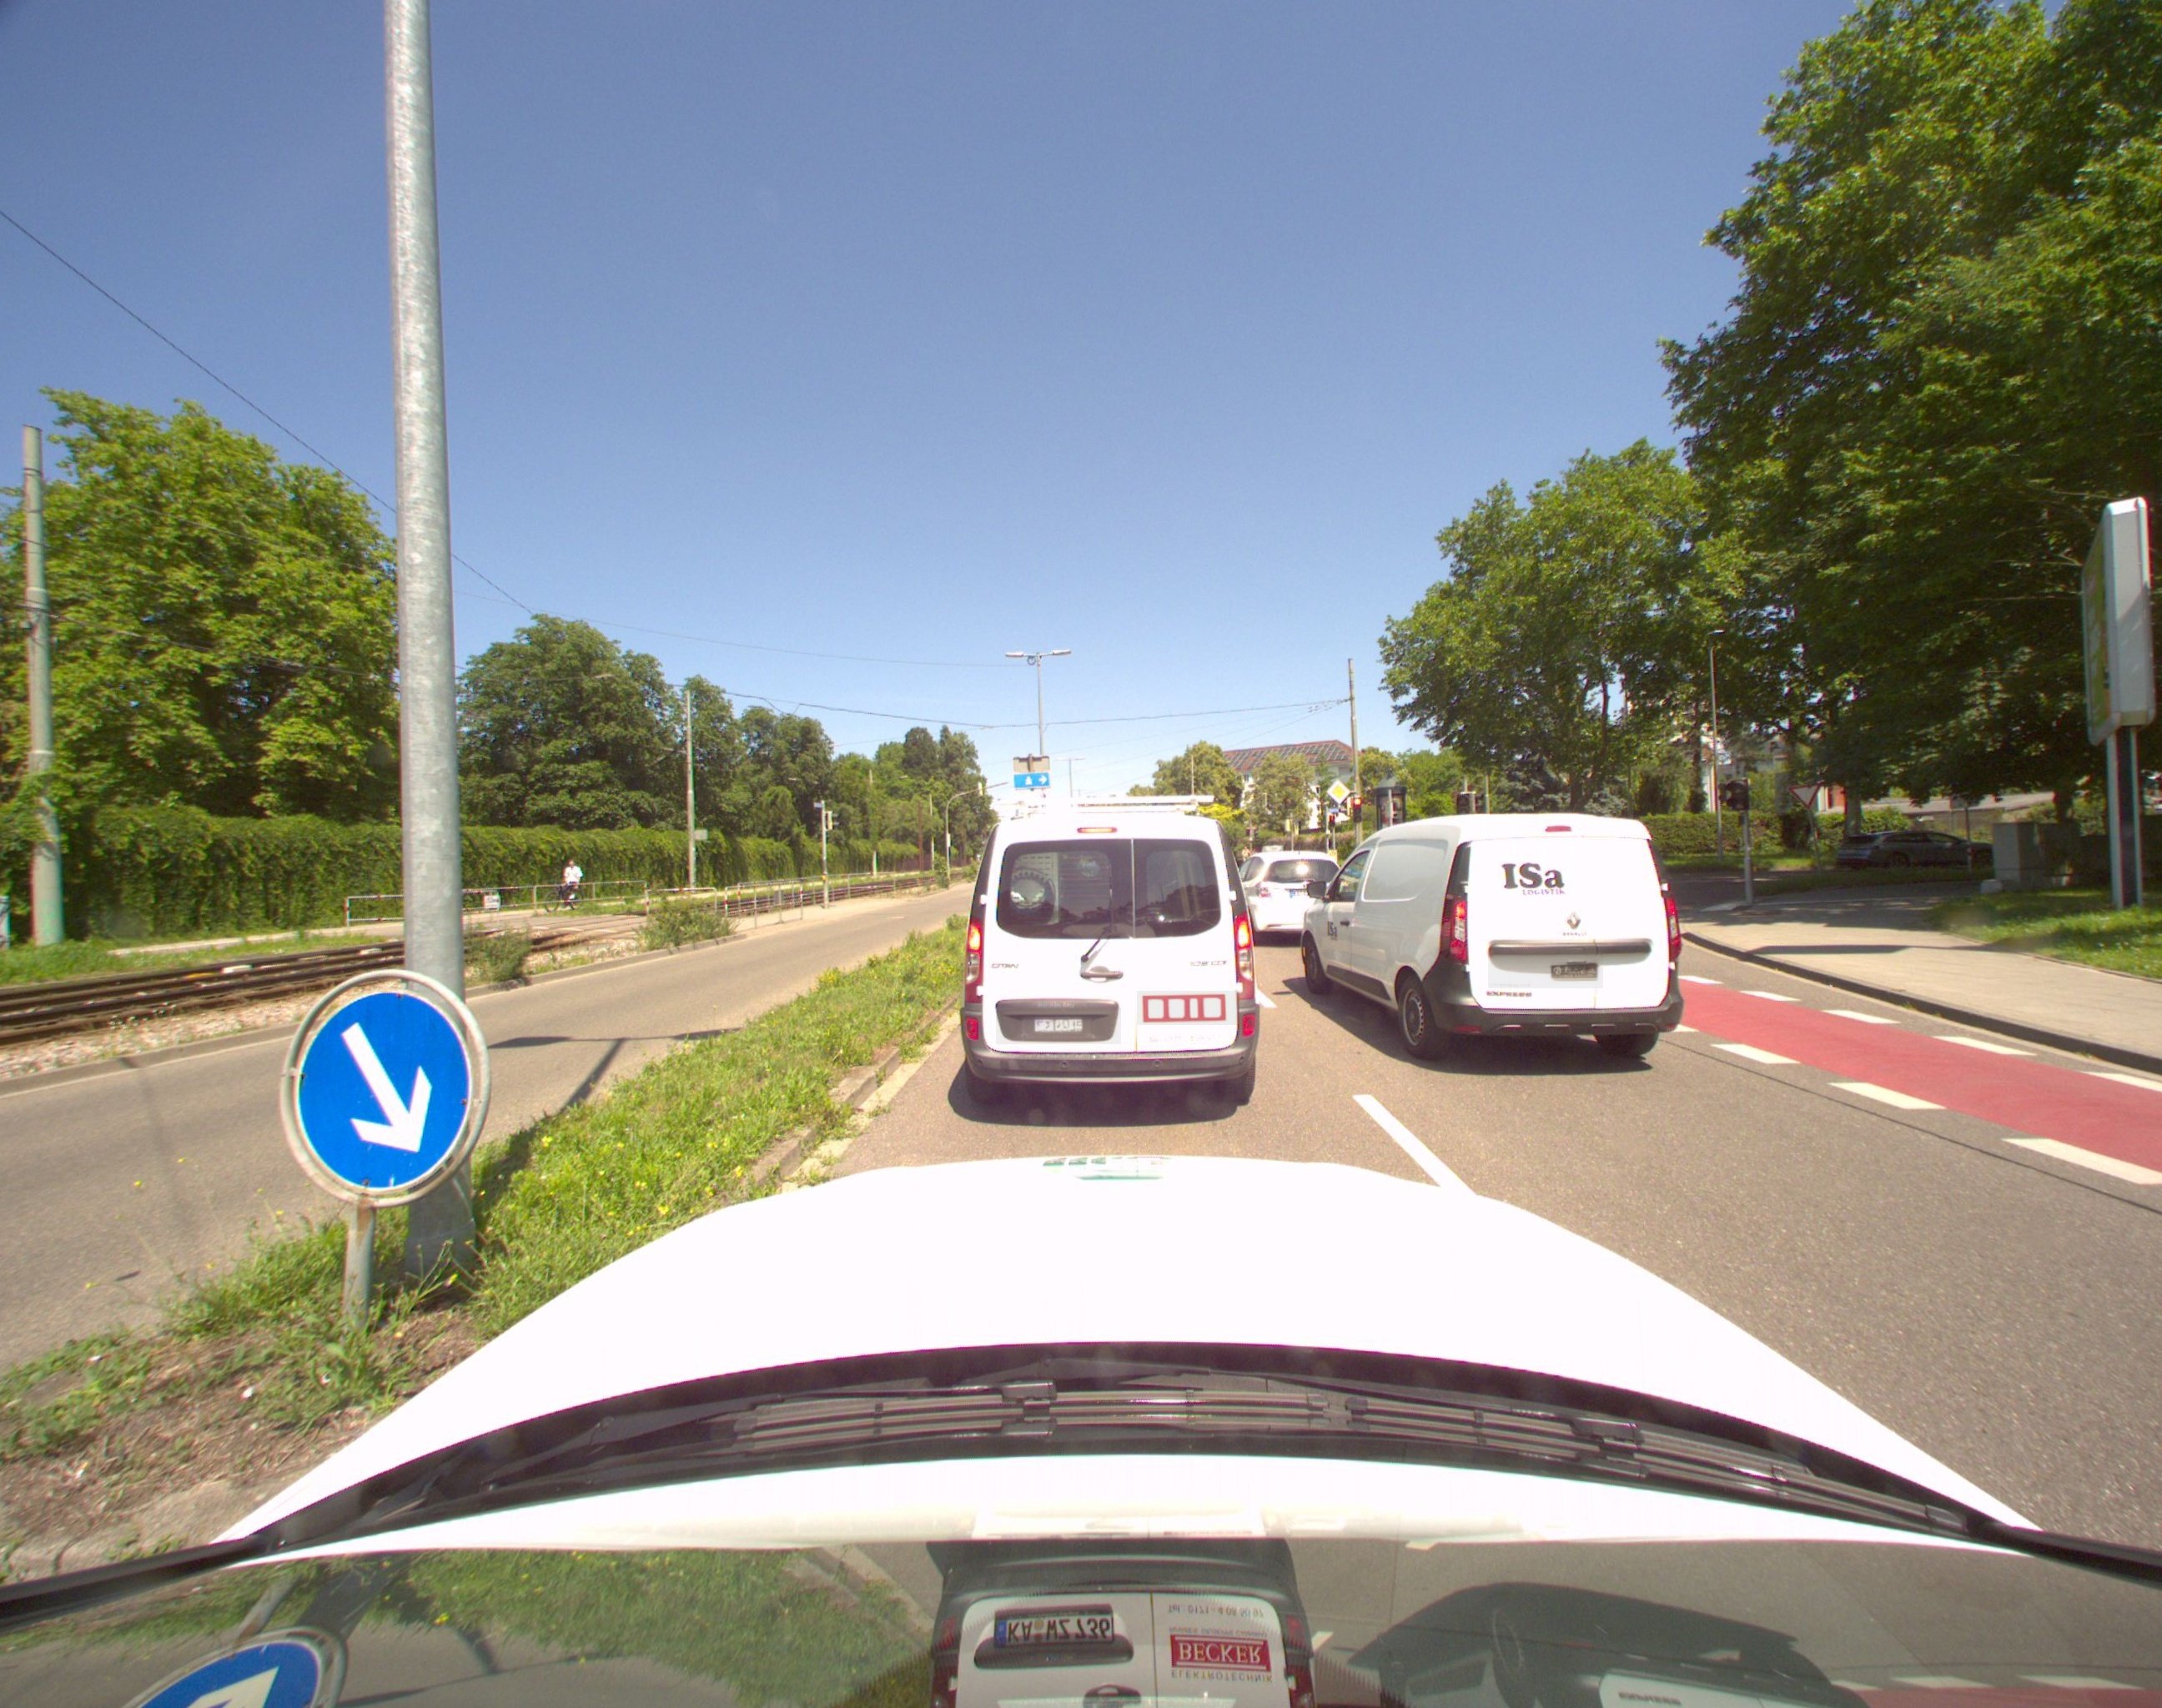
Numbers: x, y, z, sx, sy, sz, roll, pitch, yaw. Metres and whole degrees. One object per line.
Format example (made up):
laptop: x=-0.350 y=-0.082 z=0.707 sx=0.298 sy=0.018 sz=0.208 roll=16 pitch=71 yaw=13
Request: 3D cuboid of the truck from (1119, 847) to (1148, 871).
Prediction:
truck: x=4.829 y=0.389 z=74.014 sx=2.287 sy=2.013 sz=6.739 roll=-2 pitch=0 yaw=6

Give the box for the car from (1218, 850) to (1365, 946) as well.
car: x=3.616 y=0.686 z=14.713 sx=1.749 sy=1.486 sz=4.002 roll=0 pitch=0 yaw=2

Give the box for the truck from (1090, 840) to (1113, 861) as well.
truck: x=3.710 y=-0.653 z=149.025 sx=3.567 sy=3.632 sz=8.800 roll=-2 pitch=0 yaw=-2

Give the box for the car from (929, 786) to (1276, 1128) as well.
car: x=0.156 y=0.557 z=6.334 sx=1.860 sy=1.836 sz=3.849 roll=-1 pitch=0 yaw=1

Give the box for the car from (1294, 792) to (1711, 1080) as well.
car: x=3.237 y=0.531 z=7.255 sx=1.704 sy=1.830 sz=4.014 roll=-1 pitch=0 yaw=1

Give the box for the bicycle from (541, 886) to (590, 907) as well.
bicycle: x=-18.439 y=1.507 z=29.153 sx=0.559 sy=0.647 sz=1.721 roll=-2 pitch=0 yaw=3

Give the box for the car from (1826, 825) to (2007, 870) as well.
car: x=32.199 y=-0.240 z=31.520 sx=4.655 sy=1.525 sz=2.004 roll=-2 pitch=0 yaw=6

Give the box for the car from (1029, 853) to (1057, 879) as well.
car: x=-3.128 y=0.978 z=66.973 sx=1.987 sy=2.013 sz=4.001 roll=-2 pitch=0 yaw=1

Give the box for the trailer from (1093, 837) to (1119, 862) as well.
trailer: x=4.221 y=-0.801 z=140.166 sx=3.520 sy=4.050 sz=8.965 roll=-2 pitch=0 yaw=-4

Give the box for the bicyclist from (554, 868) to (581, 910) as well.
bicyclist: x=-18.442 y=1.260 z=29.258 sx=0.555 sy=1.478 sz=0.562 roll=-2 pitch=0 yaw=3
